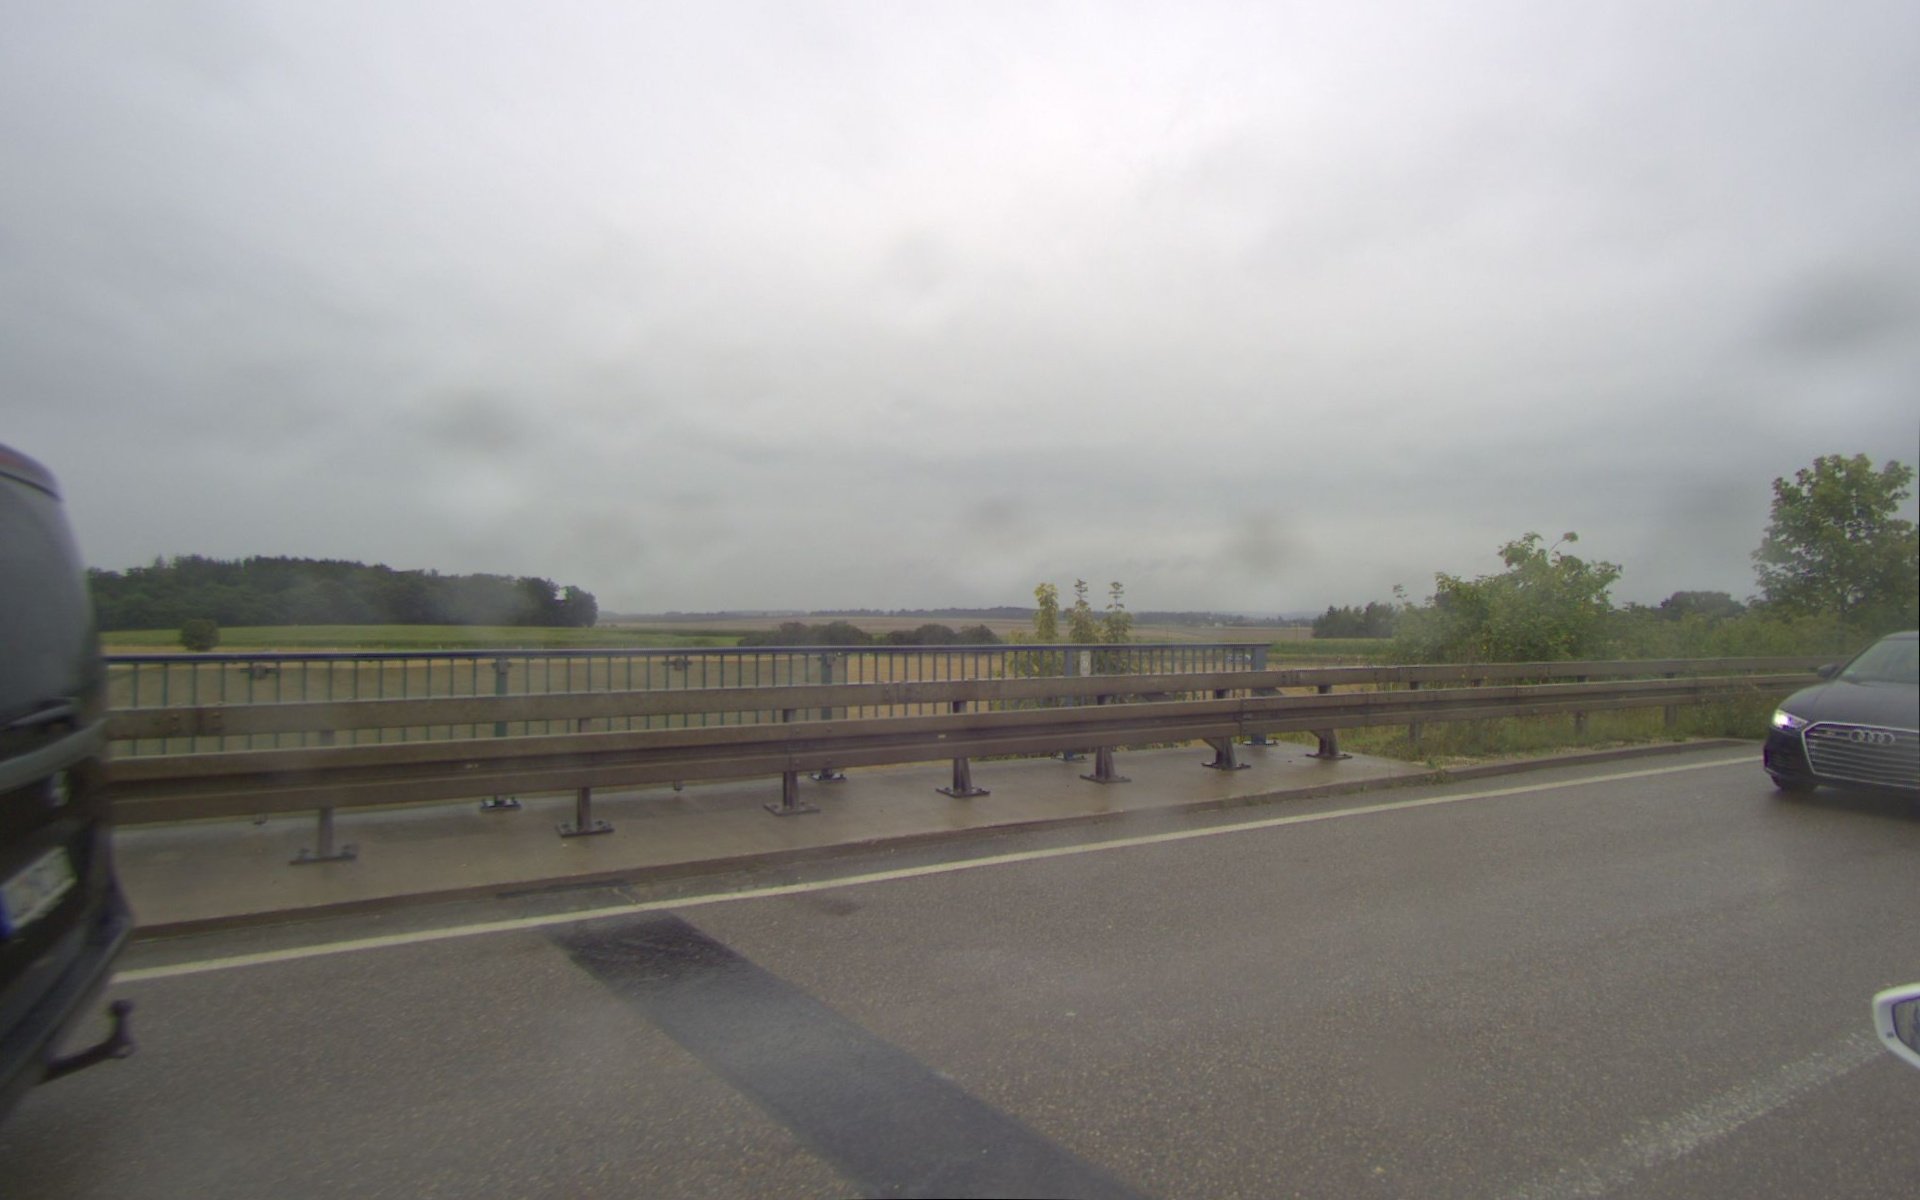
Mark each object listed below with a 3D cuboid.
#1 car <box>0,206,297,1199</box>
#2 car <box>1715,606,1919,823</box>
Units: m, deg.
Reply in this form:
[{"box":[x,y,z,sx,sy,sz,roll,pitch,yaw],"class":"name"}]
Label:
[{"box":[-3.962,0.295,1.386,4.870,1.861,2.057,1,-1,-28],"class":"car"},{"box":[8.523,0.857,8.498,4.015,1.557,1.833,1,-1,-26],"class":"car"}]
